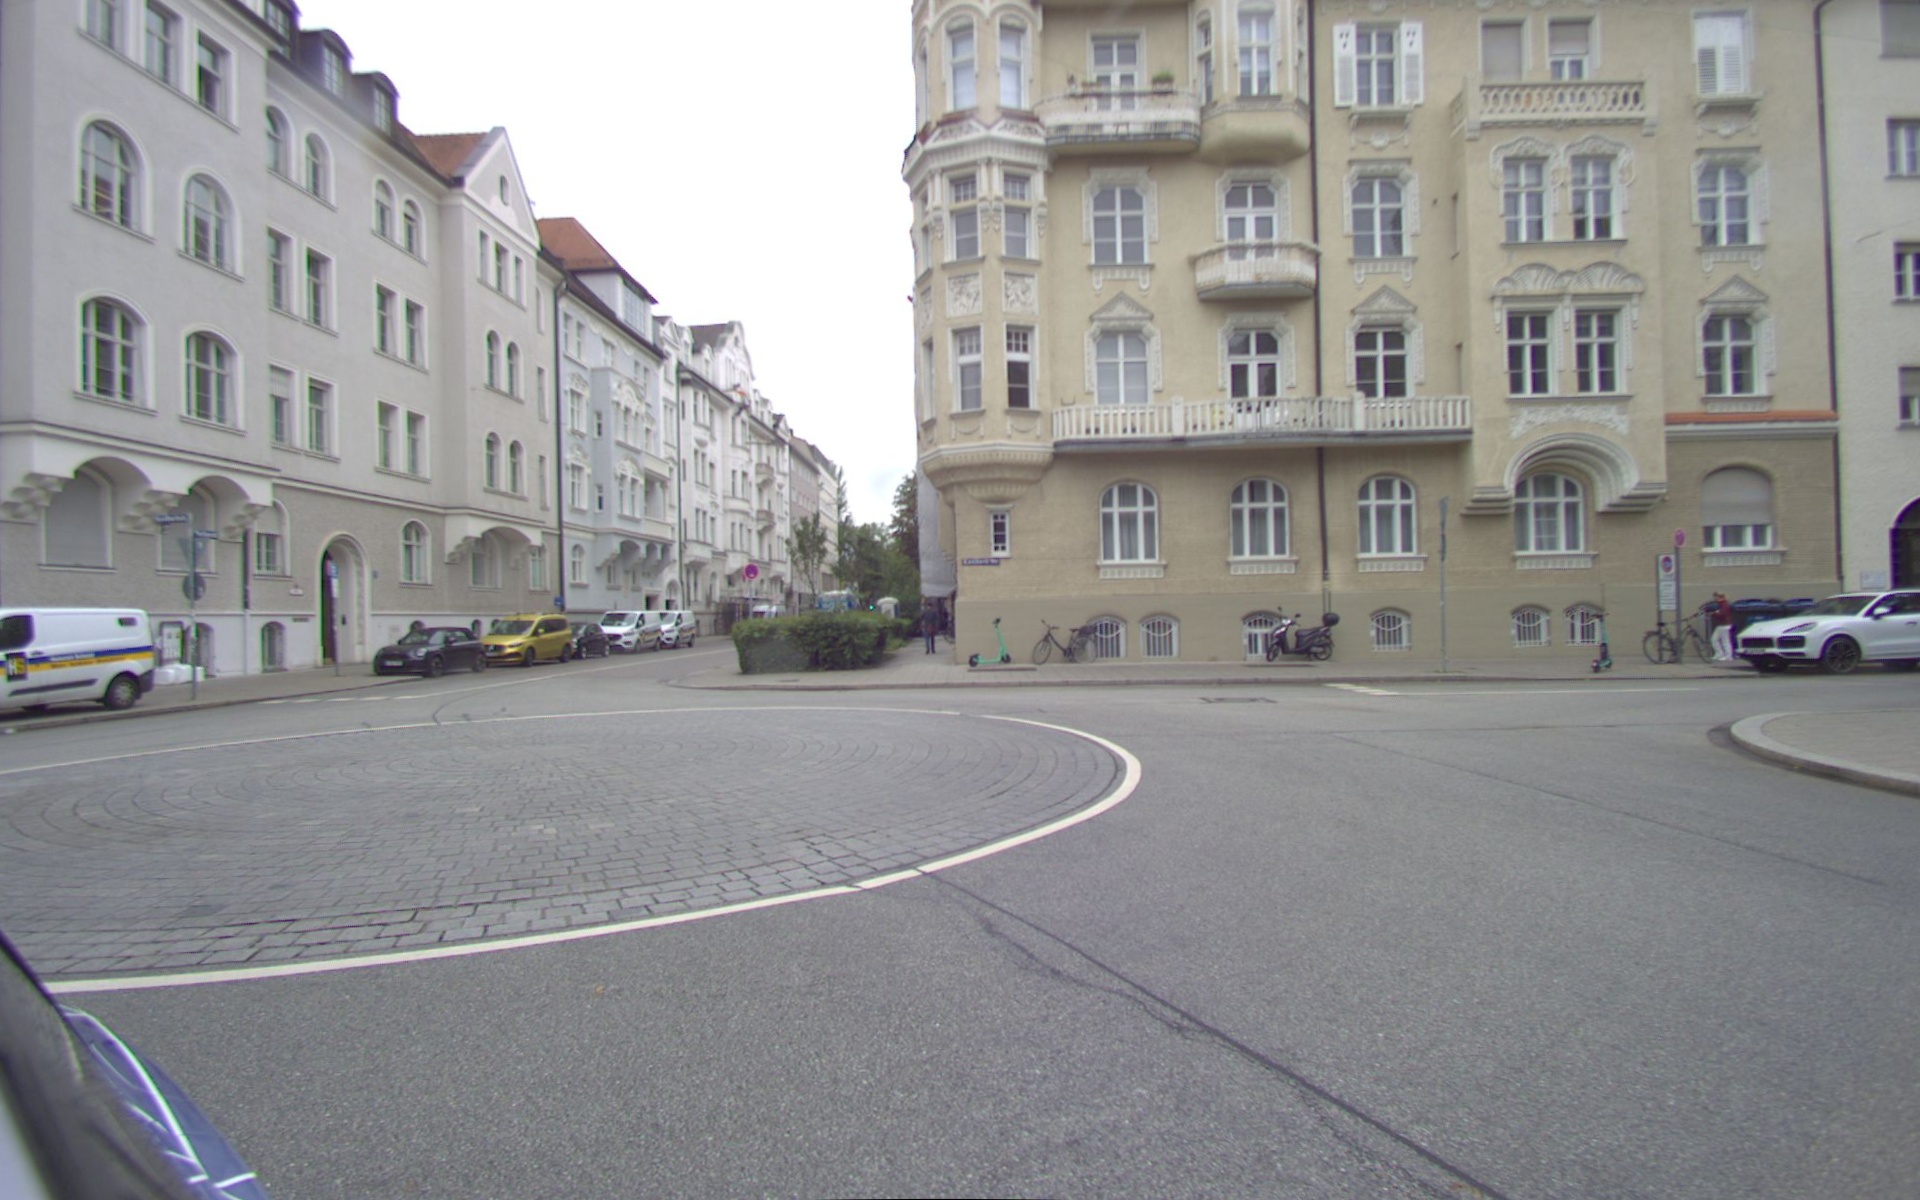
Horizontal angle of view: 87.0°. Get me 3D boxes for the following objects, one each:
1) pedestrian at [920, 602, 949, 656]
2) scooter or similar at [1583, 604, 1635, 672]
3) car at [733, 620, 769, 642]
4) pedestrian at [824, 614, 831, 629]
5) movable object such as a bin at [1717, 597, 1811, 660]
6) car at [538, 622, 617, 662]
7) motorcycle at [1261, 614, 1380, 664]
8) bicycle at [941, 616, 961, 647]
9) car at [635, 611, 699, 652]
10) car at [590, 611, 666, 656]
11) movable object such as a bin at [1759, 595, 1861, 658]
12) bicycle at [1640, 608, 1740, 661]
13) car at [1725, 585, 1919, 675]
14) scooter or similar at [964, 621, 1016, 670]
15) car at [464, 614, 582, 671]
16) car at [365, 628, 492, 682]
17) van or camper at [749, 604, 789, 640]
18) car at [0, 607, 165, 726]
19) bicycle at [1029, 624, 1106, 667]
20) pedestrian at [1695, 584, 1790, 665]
[{"bbox_3d":[-0.877,0.987,34.713,0.879,1.824,1.055,-1,-1,4],"label":"pedestrian"},{"bbox_3d":[13.786,0.790,21.485,0.709,1.405,1.337,-2,-2,41],"label":"scooter or similar"},{"bbox_3d":[-14.860,2.201,72.188,1.735,1.445,4.086,-1,-1,0],"label":"car"},{"bbox_3d":[-15.739,2.596,120.582,0.695,1.746,0.746,-1,-1,2],"label":"pedestrian"},{"bbox_3d":[19.497,0.694,24.591,1.147,1.468,1.344,-1,-1,1],"label":"movable object such as a bin"},{"bbox_3d":[-15.531,1.683,41.270,1.615,1.495,3.780,-1,-1,3],"label":"car"},{"bbox_3d":[8.905,0.957,25.085,2.528,1.189,1.007,-1,-1,1],"label":"motorcycle"},{"bbox_3d":[-0.365,1.326,42.680,0.737,1.285,1.702,-1,-1,2],"label":"bicycle"},{"bbox_3d":[-15.371,1.612,53.383,1.938,2.029,4.992,-1,-1,0],"label":"car"},{"bbox_3d":[-15.389,1.538,47.201,1.938,1.952,4.992,-1,-1,0],"label":"car"},{"bbox_3d":[20.632,0.647,24.600,1.278,1.468,1.344,-1,-1,1],"label":"movable object such as a bin"},{"bbox_3d":[16.544,0.779,22.948,1.819,1.158,0.550,-1,-1,0],"label":"bicycle"},{"bbox_3d":[18.872,0.570,20.768,4.743,1.704,2.000,-1,-1,0],"label":"car"},{"bbox_3d":[0.757,1.132,25.295,0.529,1.175,1.337,-2,-1,41],"label":"scooter or similar"},{"bbox_3d":[-15.475,1.463,36.115,1.833,1.867,4.814,-1,-1,4],"label":"car"},{"bbox_3d":[-15.963,1.606,30.613,1.647,1.468,3.893,-1,-1,3],"label":"car"},{"bbox_3d":[-14.693,1.702,78.200,1.933,2.657,5.455,-1,-1,2],"label":"van or camper"},{"bbox_3d":[-16.894,1.126,17.819,1.895,1.977,4.925,0,-1,1],"label":"car"},{"bbox_3d":[2.704,1.144,25.560,1.857,1.030,0.560,-1,-1,2],"label":"bicycle"},{"bbox_3d":[18.166,0.567,23.525,1.254,1.818,1.132,-1,-1,2],"label":"pedestrian"}]
